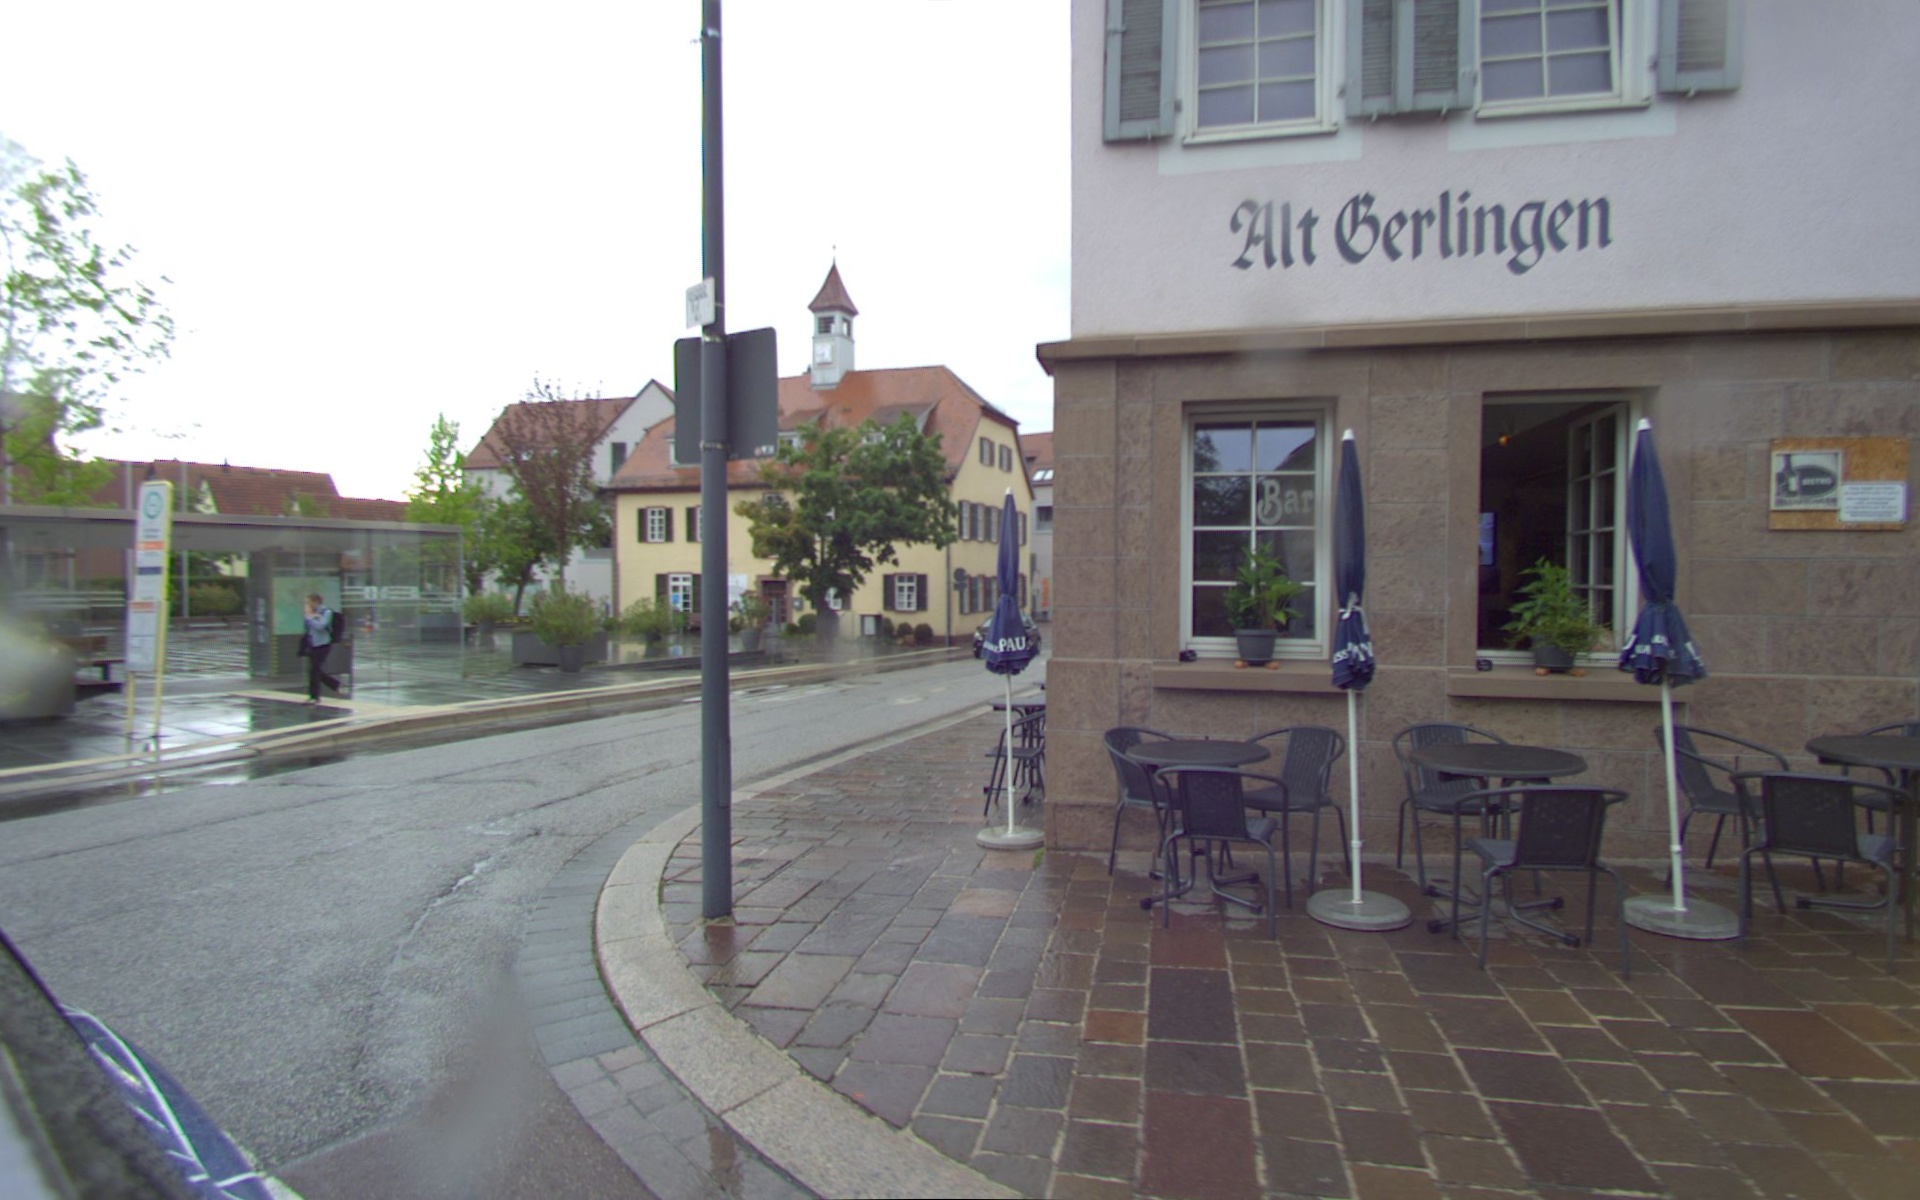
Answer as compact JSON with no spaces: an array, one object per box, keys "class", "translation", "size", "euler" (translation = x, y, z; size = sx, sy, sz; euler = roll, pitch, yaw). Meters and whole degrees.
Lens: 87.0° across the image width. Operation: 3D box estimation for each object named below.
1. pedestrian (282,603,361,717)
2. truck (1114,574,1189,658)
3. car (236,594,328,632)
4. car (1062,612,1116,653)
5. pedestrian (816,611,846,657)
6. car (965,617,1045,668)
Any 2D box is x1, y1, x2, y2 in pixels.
[{"class":"pedestrian","translation":[-9.520,0.868,15.088],"size":[0.725,1.629,0.689],"euler":[1,0,21]},{"class":"truck","translation":[7.286,0.619,37.899],"size":[2.457,2.816,6.571],"euler":[1,-1,13]},{"class":"car","translation":[-42.048,0.764,62.880],"size":[1.992,2.234,4.333],"euler":[1,0,29]},{"class":"car","translation":[6.304,1.540,49.205],"size":[1.983,1.918,3.978],"euler":[-1,-1,17]},{"class":"pedestrian","translation":[-4.800,1.254,37.528],"size":[0.853,1.706,0.718],"euler":[1,-1,-32]},{"class":"car","translation":[1.595,1.395,34.455],"size":[1.724,1.567,3.821],"euler":[1,-1,18]}]
